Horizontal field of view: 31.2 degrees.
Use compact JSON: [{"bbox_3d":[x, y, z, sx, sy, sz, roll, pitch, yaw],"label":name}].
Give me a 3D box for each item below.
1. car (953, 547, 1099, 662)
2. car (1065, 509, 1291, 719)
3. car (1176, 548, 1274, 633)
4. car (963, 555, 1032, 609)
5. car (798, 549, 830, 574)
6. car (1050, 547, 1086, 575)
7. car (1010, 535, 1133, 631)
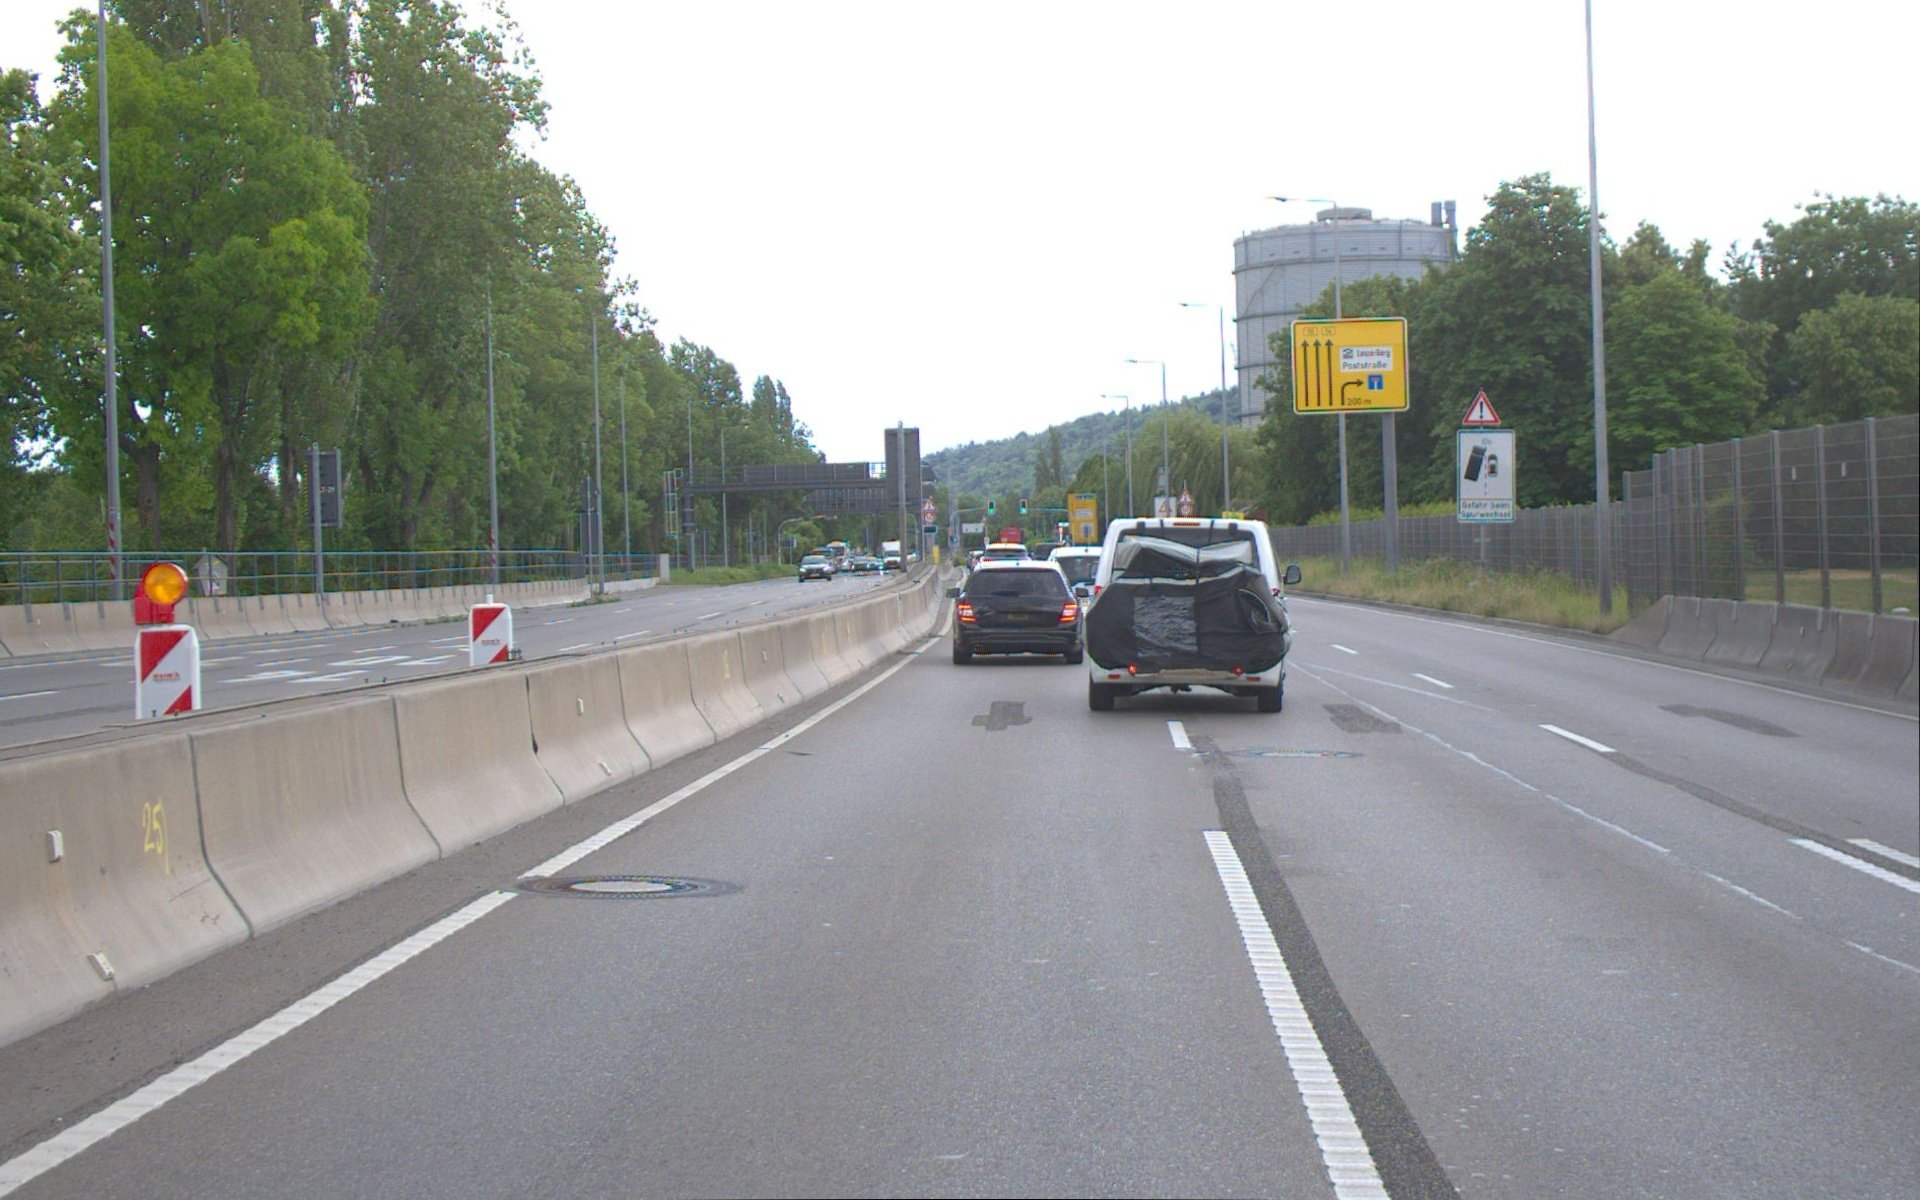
[{"bbox_3d":[0.947,0.033,47.136,1.815,1.429,4.065,-2,1,3],"label":"car"},{"bbox_3d":[2.165,0.080,33.979,1.993,1.852,5.640,1,1,4],"label":"car"},{"bbox_3d":[6.014,-0.240,78.364,1.993,1.853,4.000,-1,1,1],"label":"car"},{"bbox_3d":[1.226,-0.567,110.492,1.994,1.667,3.999,1,0,4],"label":"car"},{"bbox_3d":[-8.115,-2.152,191.421,1.733,1.369,3.617,-1,1,-1],"label":"car"},{"bbox_3d":[6.322,-2.298,201.786,1.993,1.648,4.000,0,1,0],"label":"car"},{"bbox_3d":[1.784,-0.287,55.774,1.921,1.483,4.065,-1,1,1],"label":"car"}]
